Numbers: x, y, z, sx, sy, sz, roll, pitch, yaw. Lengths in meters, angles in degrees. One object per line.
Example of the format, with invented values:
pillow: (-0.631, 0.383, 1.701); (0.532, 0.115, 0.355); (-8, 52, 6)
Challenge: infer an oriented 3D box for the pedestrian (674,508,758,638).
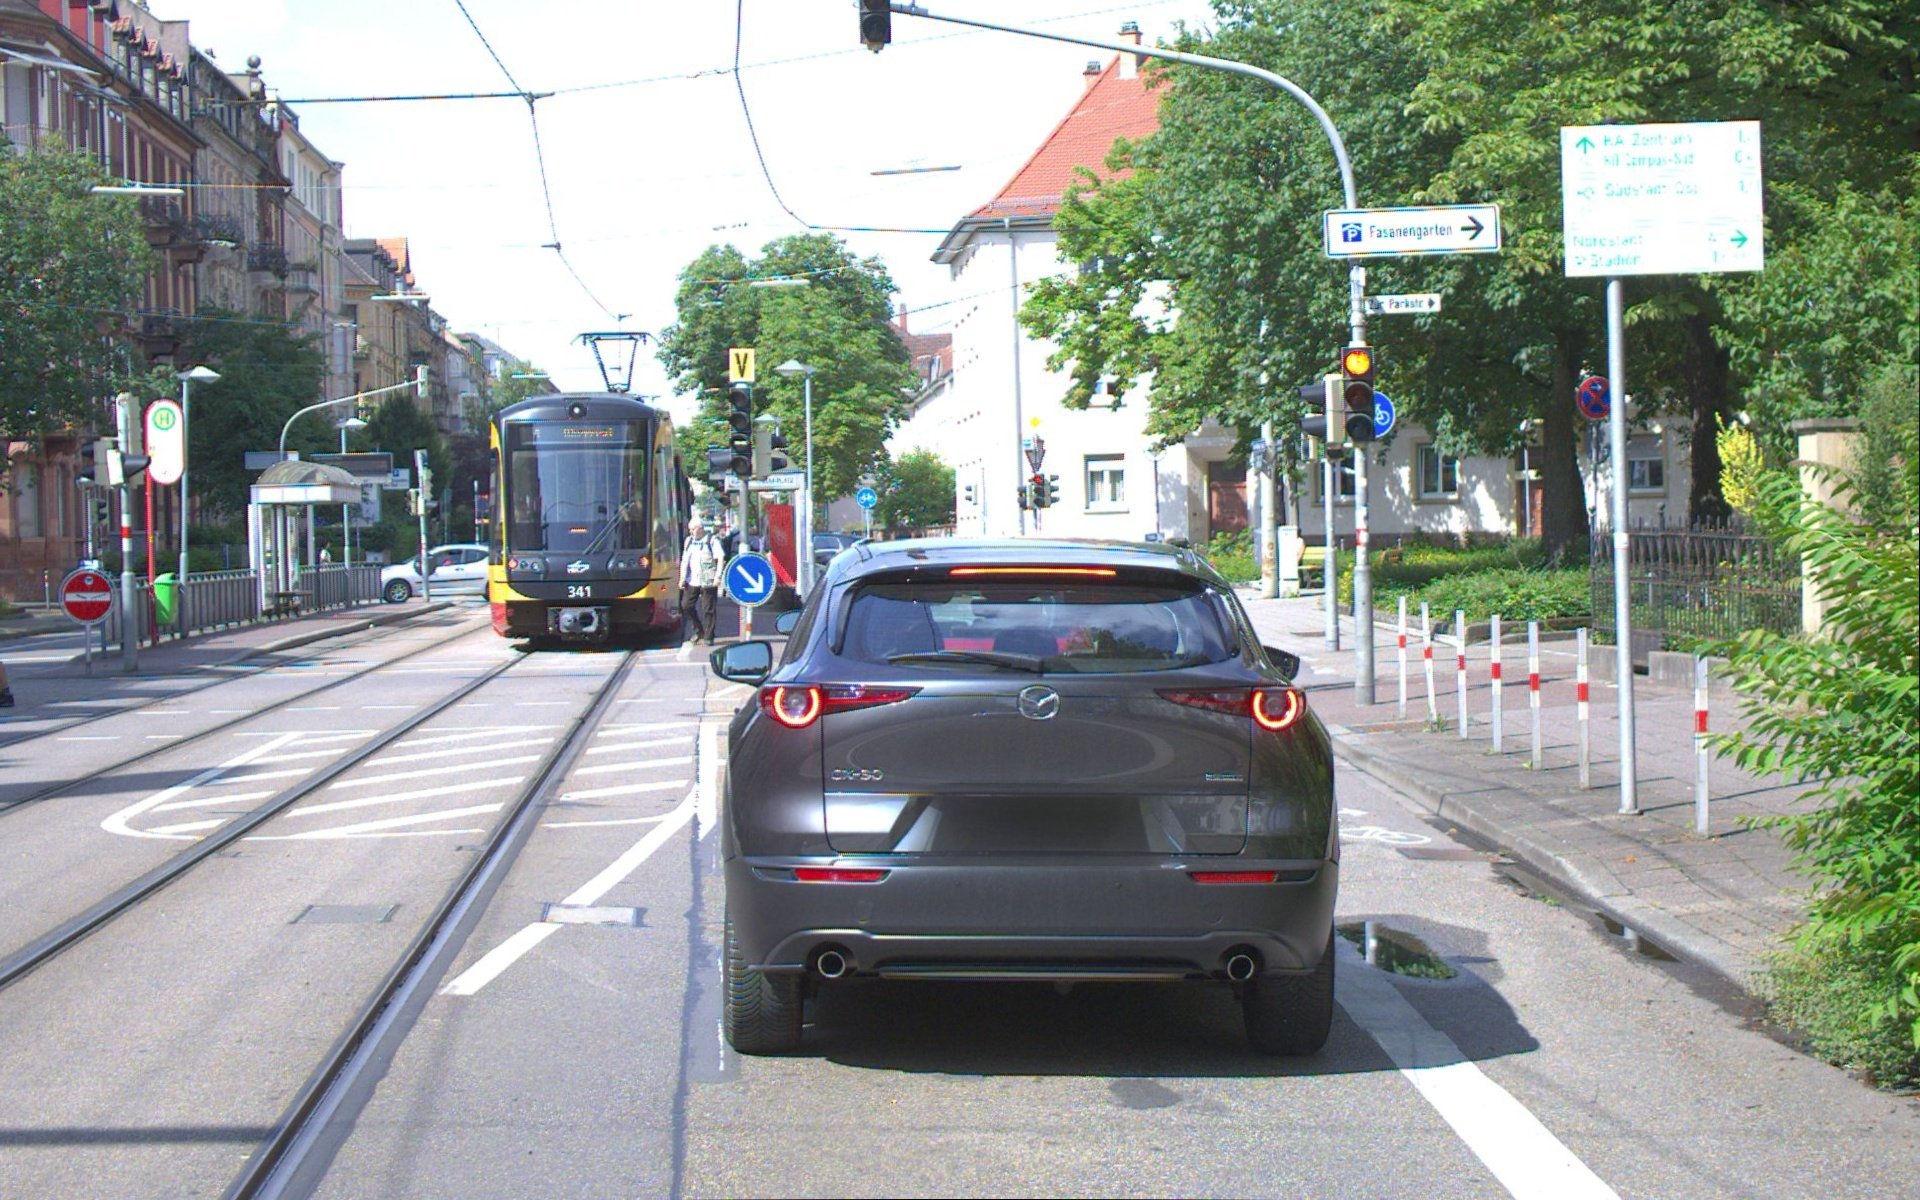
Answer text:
pedestrian: (-3.223, -0.359, 45.371); (0.717, 1.699, 0.823); (-2, 1, -42)

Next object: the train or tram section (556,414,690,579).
train or tram section: (-7.791, -2.484, 80.971); (2.752, 3.478, 14.411); (-1, 2, -4)

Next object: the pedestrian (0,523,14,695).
pedestrian: (-9.762, 0.092, 33.575); (0.751, 1.678, 0.700); (-1, 1, 9)

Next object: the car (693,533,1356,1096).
car: (0.148, 0.546, 11.343); (1.778, 1.494, 4.000); (1, 1, -1)

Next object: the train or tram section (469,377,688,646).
train or tram section: (-5.564, -1.426, 52.277); (2.752, 3.478, 14.411); (-1, 2, -4)

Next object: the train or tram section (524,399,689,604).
train or tram section: (-6.674, -1.966, 66.614); (2.752, 3.478, 14.411); (-1, 2, -4)

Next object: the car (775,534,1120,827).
car: (-0.093, 0.381, 19.950); (1.778, 1.494, 4.000); (1, 1, -1)

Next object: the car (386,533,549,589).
car: (-12.606, -1.005, 87.856); (3.986, 1.356, 1.679); (-1, 1, -12)
